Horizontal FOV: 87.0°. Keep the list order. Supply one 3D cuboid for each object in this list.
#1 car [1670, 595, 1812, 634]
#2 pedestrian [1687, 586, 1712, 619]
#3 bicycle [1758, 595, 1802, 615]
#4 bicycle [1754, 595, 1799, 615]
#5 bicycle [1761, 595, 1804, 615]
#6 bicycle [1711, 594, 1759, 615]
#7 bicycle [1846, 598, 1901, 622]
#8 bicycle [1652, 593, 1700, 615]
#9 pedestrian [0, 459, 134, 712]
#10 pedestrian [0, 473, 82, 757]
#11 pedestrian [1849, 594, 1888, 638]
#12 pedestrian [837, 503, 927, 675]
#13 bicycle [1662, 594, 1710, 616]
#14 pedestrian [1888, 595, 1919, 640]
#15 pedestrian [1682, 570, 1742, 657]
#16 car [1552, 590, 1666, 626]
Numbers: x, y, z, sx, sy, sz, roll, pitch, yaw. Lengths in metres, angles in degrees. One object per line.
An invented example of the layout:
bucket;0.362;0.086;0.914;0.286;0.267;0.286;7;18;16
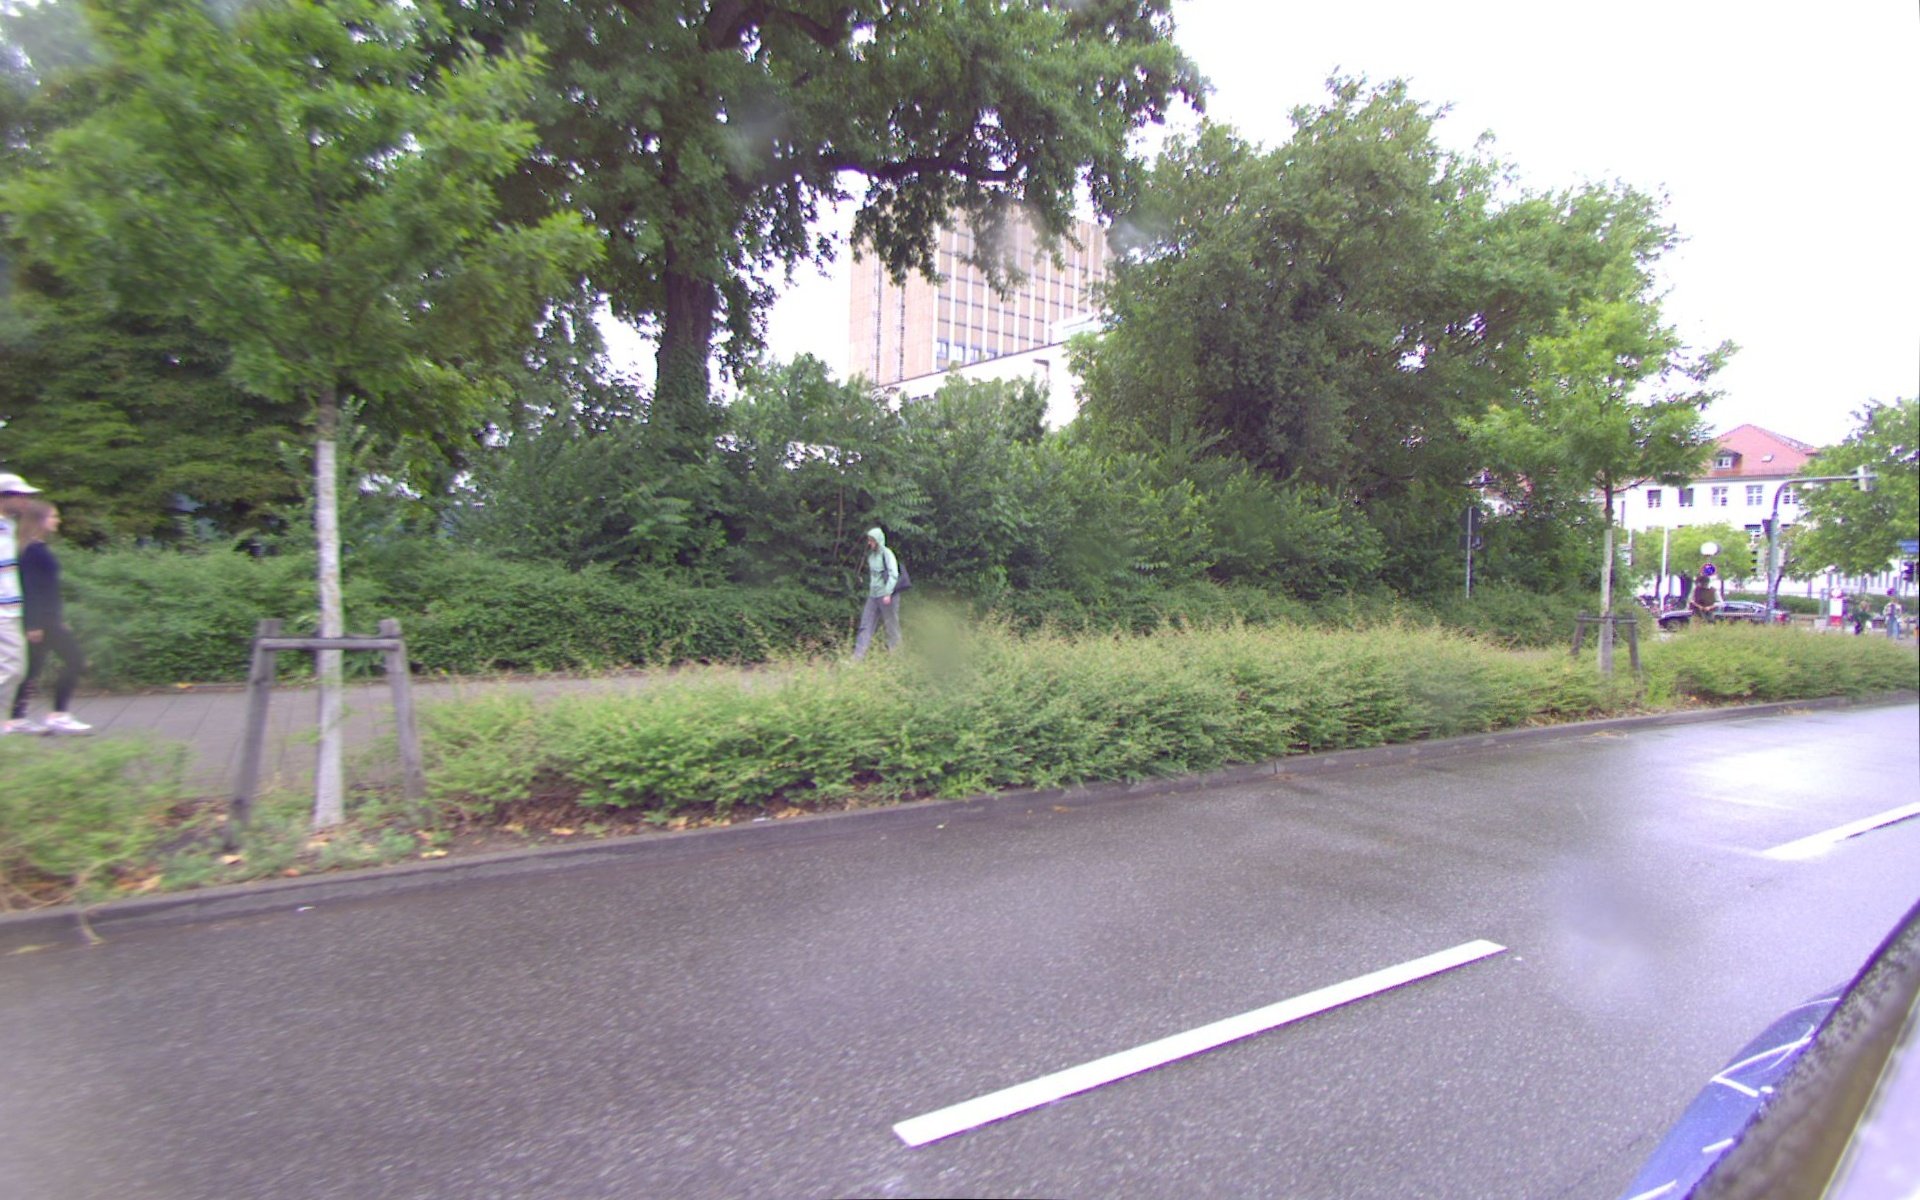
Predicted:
car;32.562;0.562;42.307;1.741;1.353;4.389;-3;4;-37
pedestrian;40.636;0.142;55.606;0.840;1.759;1.114;2;1;24
bicycle;56.824;0.338;70.149;2.279;1.237;0.589;3;2;44
bicycle;56.067;0.334;69.506;2.279;1.237;0.589;3;2;44
bicycle;57.598;0.339;70.881;2.279;1.237;0.589;3;2;44
bicycle;48.618;0.286;63.507;2.279;1.237;0.589;3;2;44
bicycle;51.533;0.574;57.110;2.279;1.237;0.589;3;2;44
bicycle;43.695;0.259;61.756;2.279;1.237;0.589;3;2;44
pedestrian;-6.723;-0.101;7.393;0.812;1.725;0.937;4;-1;-29
pedestrian;-6.354;0.068;6.489;0.812;1.743;0.937;4;-1;-29
pedestrian;35.238;0.602;39.264;0.870;1.627;0.855;2;1;29
pedestrian;-0.977;-0.142;12.555;0.812;2.038;0.794;1;1;-27
bicycle;44.452;0.273;61.986;2.279;1.237;0.589;3;2;44
pedestrian;35.868;0.647;38.322;0.871;1.627;0.853;2;1;34
pedestrian;16.833;0.297;22.655;0.833;1.882;0.733;1;1;-27
car;29.599;0.317;46.230;1.740;1.395;4.018;-2;4;-35
